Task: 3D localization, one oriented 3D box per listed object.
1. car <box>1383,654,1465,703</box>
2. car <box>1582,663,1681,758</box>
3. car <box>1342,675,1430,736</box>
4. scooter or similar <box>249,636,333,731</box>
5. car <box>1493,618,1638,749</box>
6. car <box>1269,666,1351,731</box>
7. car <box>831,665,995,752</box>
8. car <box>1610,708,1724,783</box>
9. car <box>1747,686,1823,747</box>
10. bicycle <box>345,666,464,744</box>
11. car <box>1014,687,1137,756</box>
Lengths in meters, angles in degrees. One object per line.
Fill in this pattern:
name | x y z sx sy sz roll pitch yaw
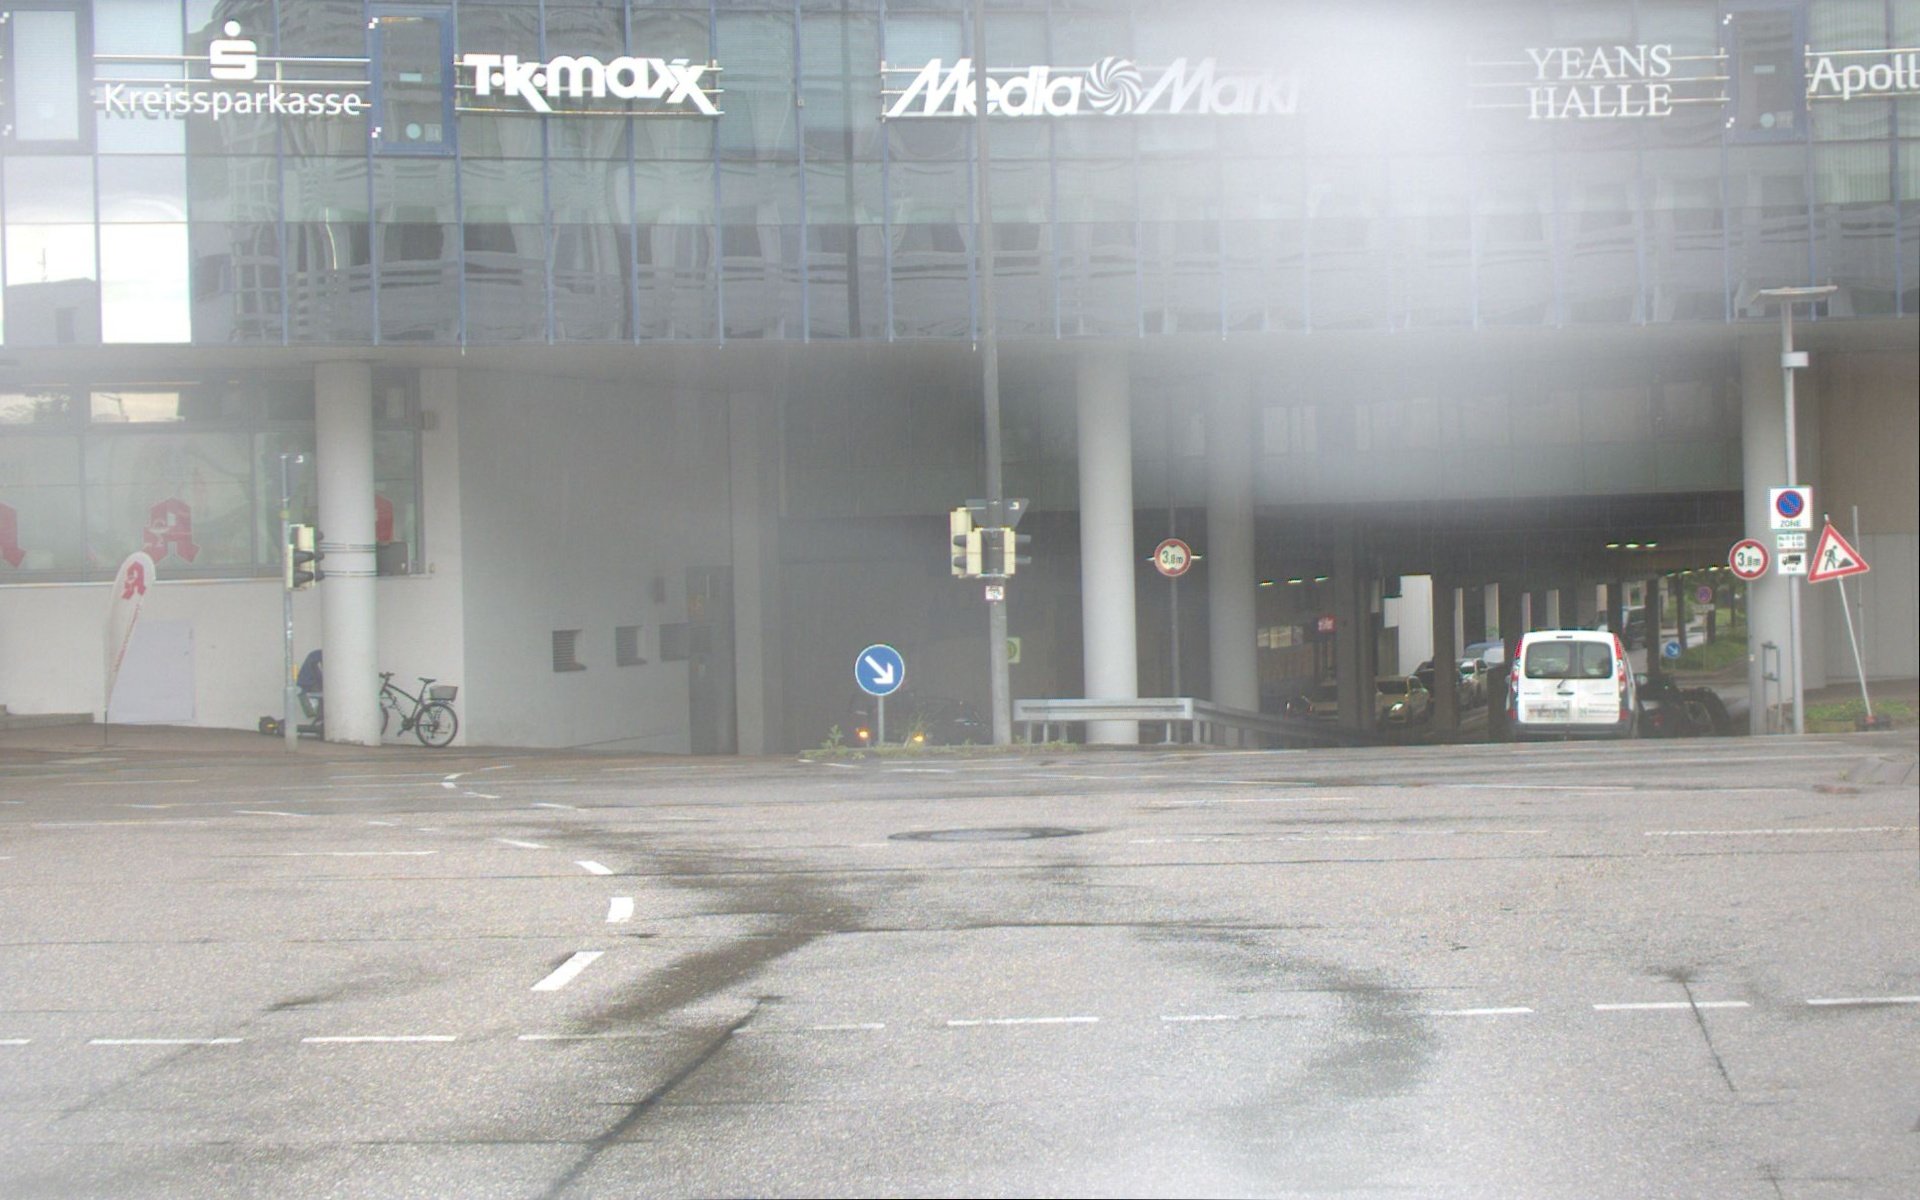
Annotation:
car | 15.007 2.525 110.941 1.995 1.459 3.997 -2 0 17
car | 12.211 2.028 62.433 1.633 1.606 4.260 -3 -3 12
car | 12.830 3.153 103.347 1.995 1.658 3.997 1 0 17
scooter or similar | -9.762 1.219 50.163 1.166 1.368 0.489 1 0 -14
car | 8.880 1.213 50.178 1.927 1.791 4.294 -1 -1 12
car | 9.958 2.773 97.621 1.837 1.722 3.998 -1 0 12
car | -0.837 2.059 64.331 1.894 1.465 4.023 -1 -4 17
car | 13.885 2.868 67.375 1.781 1.396 3.996 -2 -3 17
car | 22.136 3.101 92.163 1.889 1.486 3.838 0 0 15
bicycle | -8.179 1.551 50.643 1.581 1.014 0.452 6 -2 -29
car | 2.582 2.688 76.118 1.772 1.459 3.872 -2 -2 17
